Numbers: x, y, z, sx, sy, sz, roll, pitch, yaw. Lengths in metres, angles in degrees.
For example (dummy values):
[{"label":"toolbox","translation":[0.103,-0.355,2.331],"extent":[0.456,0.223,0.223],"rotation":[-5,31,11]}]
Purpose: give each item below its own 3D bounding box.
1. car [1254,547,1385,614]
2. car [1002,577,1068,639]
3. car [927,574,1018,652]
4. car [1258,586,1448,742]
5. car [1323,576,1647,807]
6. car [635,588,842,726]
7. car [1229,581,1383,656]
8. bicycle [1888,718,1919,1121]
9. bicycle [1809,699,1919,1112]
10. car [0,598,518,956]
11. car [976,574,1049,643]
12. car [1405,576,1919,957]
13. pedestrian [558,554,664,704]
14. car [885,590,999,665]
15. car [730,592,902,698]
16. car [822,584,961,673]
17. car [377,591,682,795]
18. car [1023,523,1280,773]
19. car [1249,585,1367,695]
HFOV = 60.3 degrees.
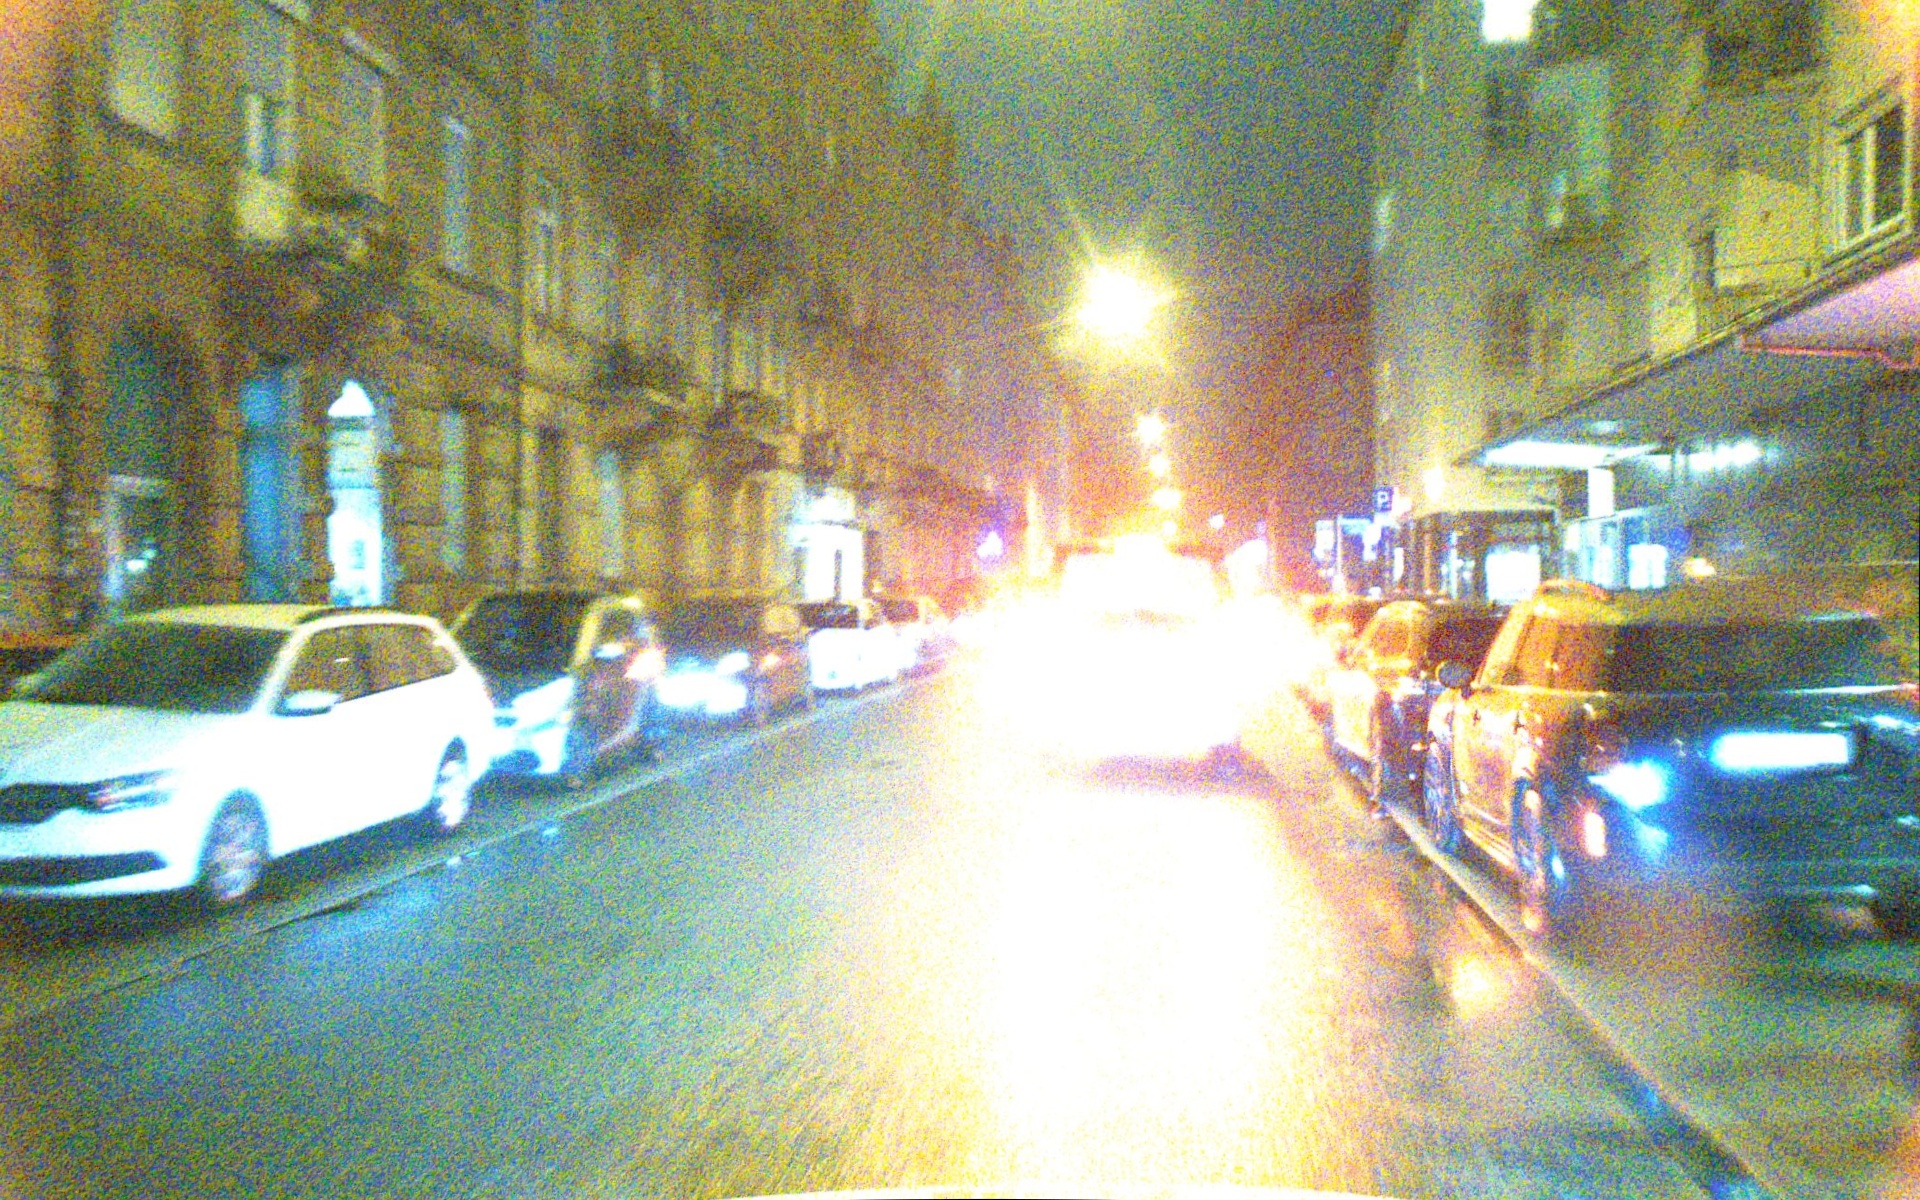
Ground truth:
[{"label":"car","translation":[11.359,-0.618,52.456],"extent":[3.902,2.049,2.002],"rotation":[-1,1,8]},{"label":"car","translation":[2.655,0.257,57.877],"extent":[1.951,2.049,4.003],"rotation":[1,0,7]},{"label":"car","translation":[0.385,0.316,43.185],"extent":[1.951,1.895,4.097],"rotation":[1,0,6]},{"label":"car","translation":[4.534,0.689,19.595],"extent":[1.716,1.636,3.992],"rotation":[0,0,6]},{"label":"car","translation":[4.087,0.634,13.580],"extent":[1.716,1.565,4.401],"rotation":[0,0,6]},{"label":"car","translation":[-2.535,0.598,19.727],"extent":[1.552,1.474,3.506],"rotation":[0,1,8]},{"label":"car","translation":[10.018,0.548,48.071],"extent":[3.913,2.049,1.996],"rotation":[-1,-1,-9]},{"label":"bicycle","translation":[3.495,0.877,4.425],"extent":[1.724,1.098,0.436],"rotation":[-1,1,6]},{"label":"bicycle","translation":[3.561,0.845,4.932],"extent":[1.725,1.144,0.436],"rotation":[-4,0,6]},{"label":"car","translation":[-4.122,0.789,9.503],"extent":[1.552,1.489,4.027],"rotation":[2,1,8]},{"label":"car","translation":[1.703,0.260,52.205],"extent":[1.951,2.049,4.003],"rotation":[1,0,7]},{"label":"car","translation":[3.655,0.714,9.113],"extent":[1.716,1.593,4.157],"rotation":[0,0,6]},{"label":"pedestrian","translation":[-4.577,0.368,21.742],"extent":[1.009,1.897,0.978],"rotation":[1,0,12]},{"label":"car","translation":[-0.317,0.551,35.716],"extent":[1.951,1.474,4.003],"rotation":[1,0,7]},{"label":"car","translation":[-2.068,0.608,24.997],"extent":[1.654,1.425,4.320],"rotation":[0,1,8]},{"label":"car","translation":[-1.197,0.474,31.000],"extent":[1.716,1.474,4.627],"rotation":[2,1,8]},{"label":"car","translation":[-3.546,0.698,14.071],"extent":[1.552,1.536,2.790],"rotation":[0,1,8]},{"label":"car","translation":[1.777,0.372,15.775],"extent":[2.077,2.026,4.604],"rotation":[0,0,5]},{"label":"car","translation":[5.355,0.590,25.741],"extent":[1.558,1.570,3.423],"rotation":[0,0,8]}]
